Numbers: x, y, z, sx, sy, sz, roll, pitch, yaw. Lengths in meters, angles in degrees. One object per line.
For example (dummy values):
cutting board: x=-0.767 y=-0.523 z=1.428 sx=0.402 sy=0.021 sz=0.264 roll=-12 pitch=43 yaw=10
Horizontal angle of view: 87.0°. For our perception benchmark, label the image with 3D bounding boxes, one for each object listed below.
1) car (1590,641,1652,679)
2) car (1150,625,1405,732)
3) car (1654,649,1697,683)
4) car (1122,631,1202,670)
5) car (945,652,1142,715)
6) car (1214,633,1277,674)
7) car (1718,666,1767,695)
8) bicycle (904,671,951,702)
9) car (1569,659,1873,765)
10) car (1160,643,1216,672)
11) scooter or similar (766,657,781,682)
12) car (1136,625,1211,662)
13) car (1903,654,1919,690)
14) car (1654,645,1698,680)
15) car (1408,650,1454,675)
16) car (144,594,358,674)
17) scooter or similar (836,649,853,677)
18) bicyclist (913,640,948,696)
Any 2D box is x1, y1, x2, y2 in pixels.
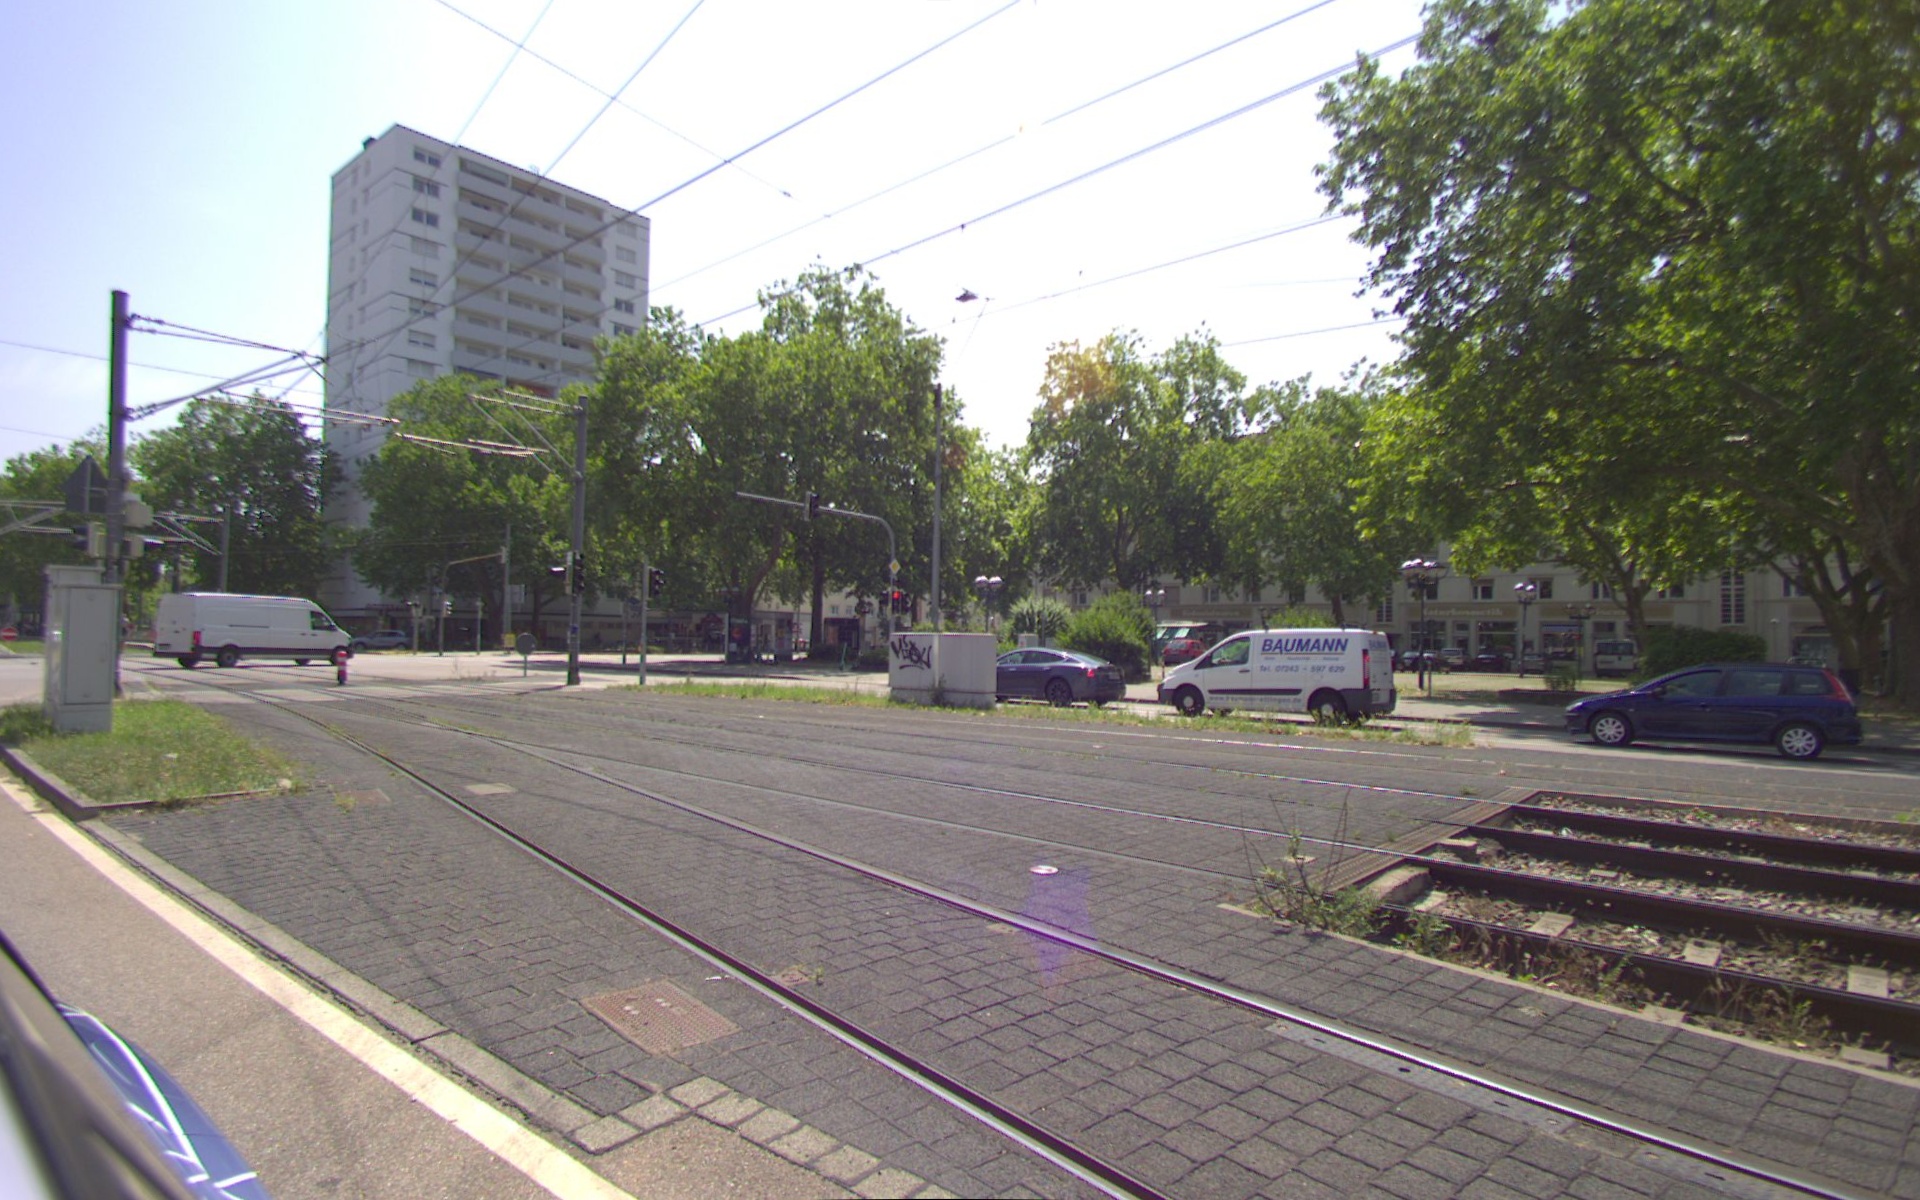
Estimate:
car: x=36.174 y=3.254 z=55.342 sx=2.166 sy=1.964 sz=3.942 roll=-2 pitch=-3 yaw=44
car: x=6.531 y=1.554 z=21.160 sx=4.800 sy=2.006 sz=1.759 roll=-1 pitch=-3 yaw=39
car: x=44.425 y=4.065 z=62.797 sx=1.574 sy=1.964 sz=3.870 roll=-2 pitch=-3 yaw=44
car: x=11.310 y=2.798 z=56.716 sx=3.997 sy=2.099 sz=1.973 roll=-1 pitch=-3 yaw=40
car: x=2.018 y=2.008 z=25.146 sx=4.624 sy=1.369 sz=1.927 roll=-2 pitch=-4 yaw=39
car: x=19.914 y=3.669 z=70.447 sx=2.106 sy=2.680 sz=5.634 roll=-1 pitch=-3 yaw=40
car: x=39.798 y=4.062 z=51.430 sx=1.826 sy=1.303 sz=3.818 roll=-1 pitch=-3 yaw=40
bicycle: x=-0.993 y=2.643 z=31.118 sx=1.480 sy=0.889 sz=0.491 roll=-1 pitch=-2 yaw=38
car: x=12.189 y=1.741 z=16.407 sx=3.779 sy=1.431 sz=1.580 roll=-1 pitch=-5 yaw=40
car: x=11.644 y=2.904 z=51.611 sx=1.471 sy=1.394 sz=3.300 roll=-1 pitch=-2 yaw=39
scooter or similar: x=-8.709 y=3.242 z=47.317 sx=0.253 sy=1.129 sz=0.979 roll=2 pitch=-2 yaw=-37
car: x=12.743 y=2.573 z=60.485 sx=3.997 sy=2.099 sz=1.973 roll=-1 pitch=-3 yaw=40
car: x=45.226 y=3.286 z=45.514 sx=3.997 sy=1.623 sz=1.973 roll=-1 pitch=-3 yaw=40
car: x=38.121 y=3.297 z=53.863 sx=1.620 sy=1.759 sz=3.658 roll=-1 pitch=-3 yaw=40
car: x=29.068 y=3.836 z=62.403 sx=1.620 sy=1.420 sz=3.874 roll=-1 pitch=-2 yaw=40
car: x=-25.692 y=1.257 z=37.124 sx=2.058 sy=2.657 sz=6.599 roll=0 pitch=-2 yaw=15
scooter or similar: x=-4.713 y=2.575 z=41.370 sx=0.253 sy=1.129 sz=0.862 roll=2 pitch=-3 yaw=-37
bicyclist: x=-0.903 y=2.074 z=31.055 sx=0.867 sy=1.698 sz=0.632 roll=-1 pitch=-3 yaw=37
